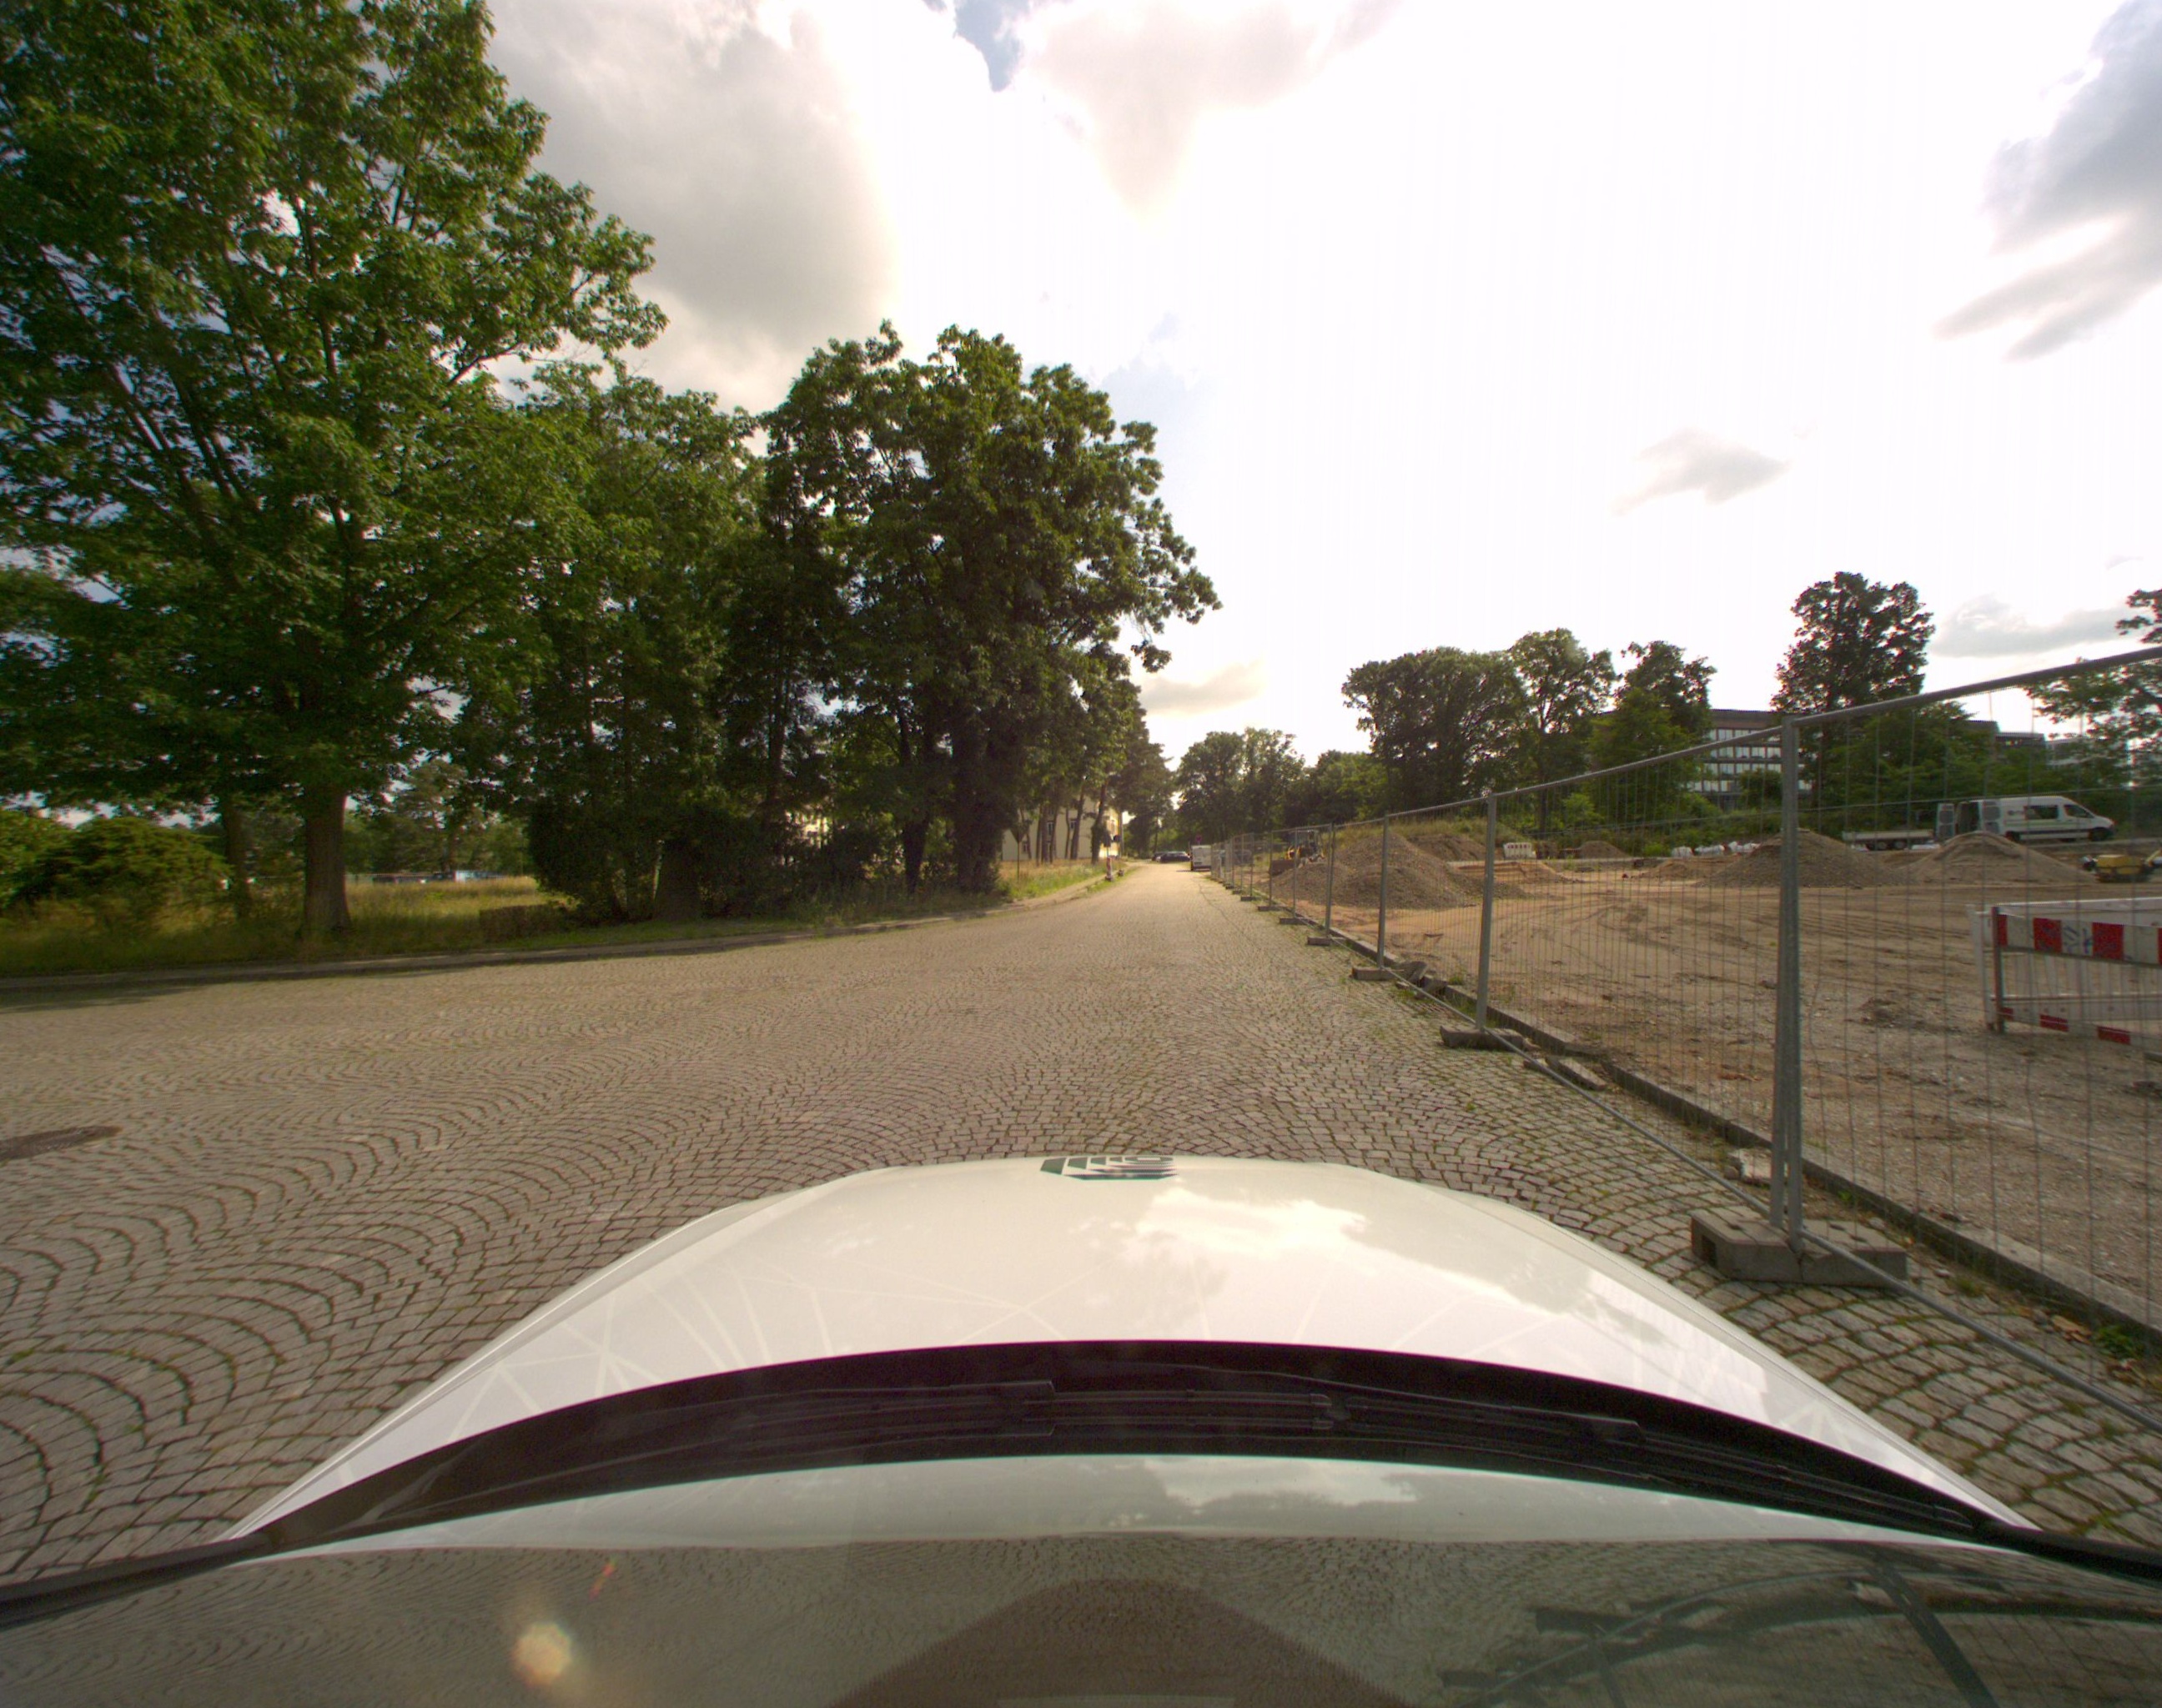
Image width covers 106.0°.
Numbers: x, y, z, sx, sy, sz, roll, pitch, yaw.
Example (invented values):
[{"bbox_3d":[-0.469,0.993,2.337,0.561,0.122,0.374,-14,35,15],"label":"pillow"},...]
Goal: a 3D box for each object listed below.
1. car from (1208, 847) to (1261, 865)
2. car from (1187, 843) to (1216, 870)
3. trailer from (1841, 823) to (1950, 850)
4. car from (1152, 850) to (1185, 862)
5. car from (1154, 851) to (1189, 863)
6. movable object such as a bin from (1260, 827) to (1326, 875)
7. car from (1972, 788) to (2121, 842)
[{"bbox_3d":[13.305,0.168,70.379,4.371,1.510,2.007,-1,0,13],"label":"car"},{"bbox_3d":[9.619,0.182,65.164,1.984,2.013,4.096,-2,0,4],"label":"car"},{"bbox_3d":[46.375,-0.971,46.490,3.948,1.354,2.101,-2,0,31],"label":"trailer"},{"bbox_3d":[13.091,0.362,122.587,4.764,1.640,2.000,-2,0,0],"label":"car"},{"bbox_3d":[12.860,0.399,116.180,4.764,1.640,2.000,-2,0,0],"label":"car"},{"bbox_3d":[12.235,-0.210,46.765,2.108,2.593,4.822,-2,0,35],"label":"movable object such as a bin"},{"bbox_3d":[52.093,-2.035,44.068,4.763,2.642,2.065,-2,0,18],"label":"car"}]
